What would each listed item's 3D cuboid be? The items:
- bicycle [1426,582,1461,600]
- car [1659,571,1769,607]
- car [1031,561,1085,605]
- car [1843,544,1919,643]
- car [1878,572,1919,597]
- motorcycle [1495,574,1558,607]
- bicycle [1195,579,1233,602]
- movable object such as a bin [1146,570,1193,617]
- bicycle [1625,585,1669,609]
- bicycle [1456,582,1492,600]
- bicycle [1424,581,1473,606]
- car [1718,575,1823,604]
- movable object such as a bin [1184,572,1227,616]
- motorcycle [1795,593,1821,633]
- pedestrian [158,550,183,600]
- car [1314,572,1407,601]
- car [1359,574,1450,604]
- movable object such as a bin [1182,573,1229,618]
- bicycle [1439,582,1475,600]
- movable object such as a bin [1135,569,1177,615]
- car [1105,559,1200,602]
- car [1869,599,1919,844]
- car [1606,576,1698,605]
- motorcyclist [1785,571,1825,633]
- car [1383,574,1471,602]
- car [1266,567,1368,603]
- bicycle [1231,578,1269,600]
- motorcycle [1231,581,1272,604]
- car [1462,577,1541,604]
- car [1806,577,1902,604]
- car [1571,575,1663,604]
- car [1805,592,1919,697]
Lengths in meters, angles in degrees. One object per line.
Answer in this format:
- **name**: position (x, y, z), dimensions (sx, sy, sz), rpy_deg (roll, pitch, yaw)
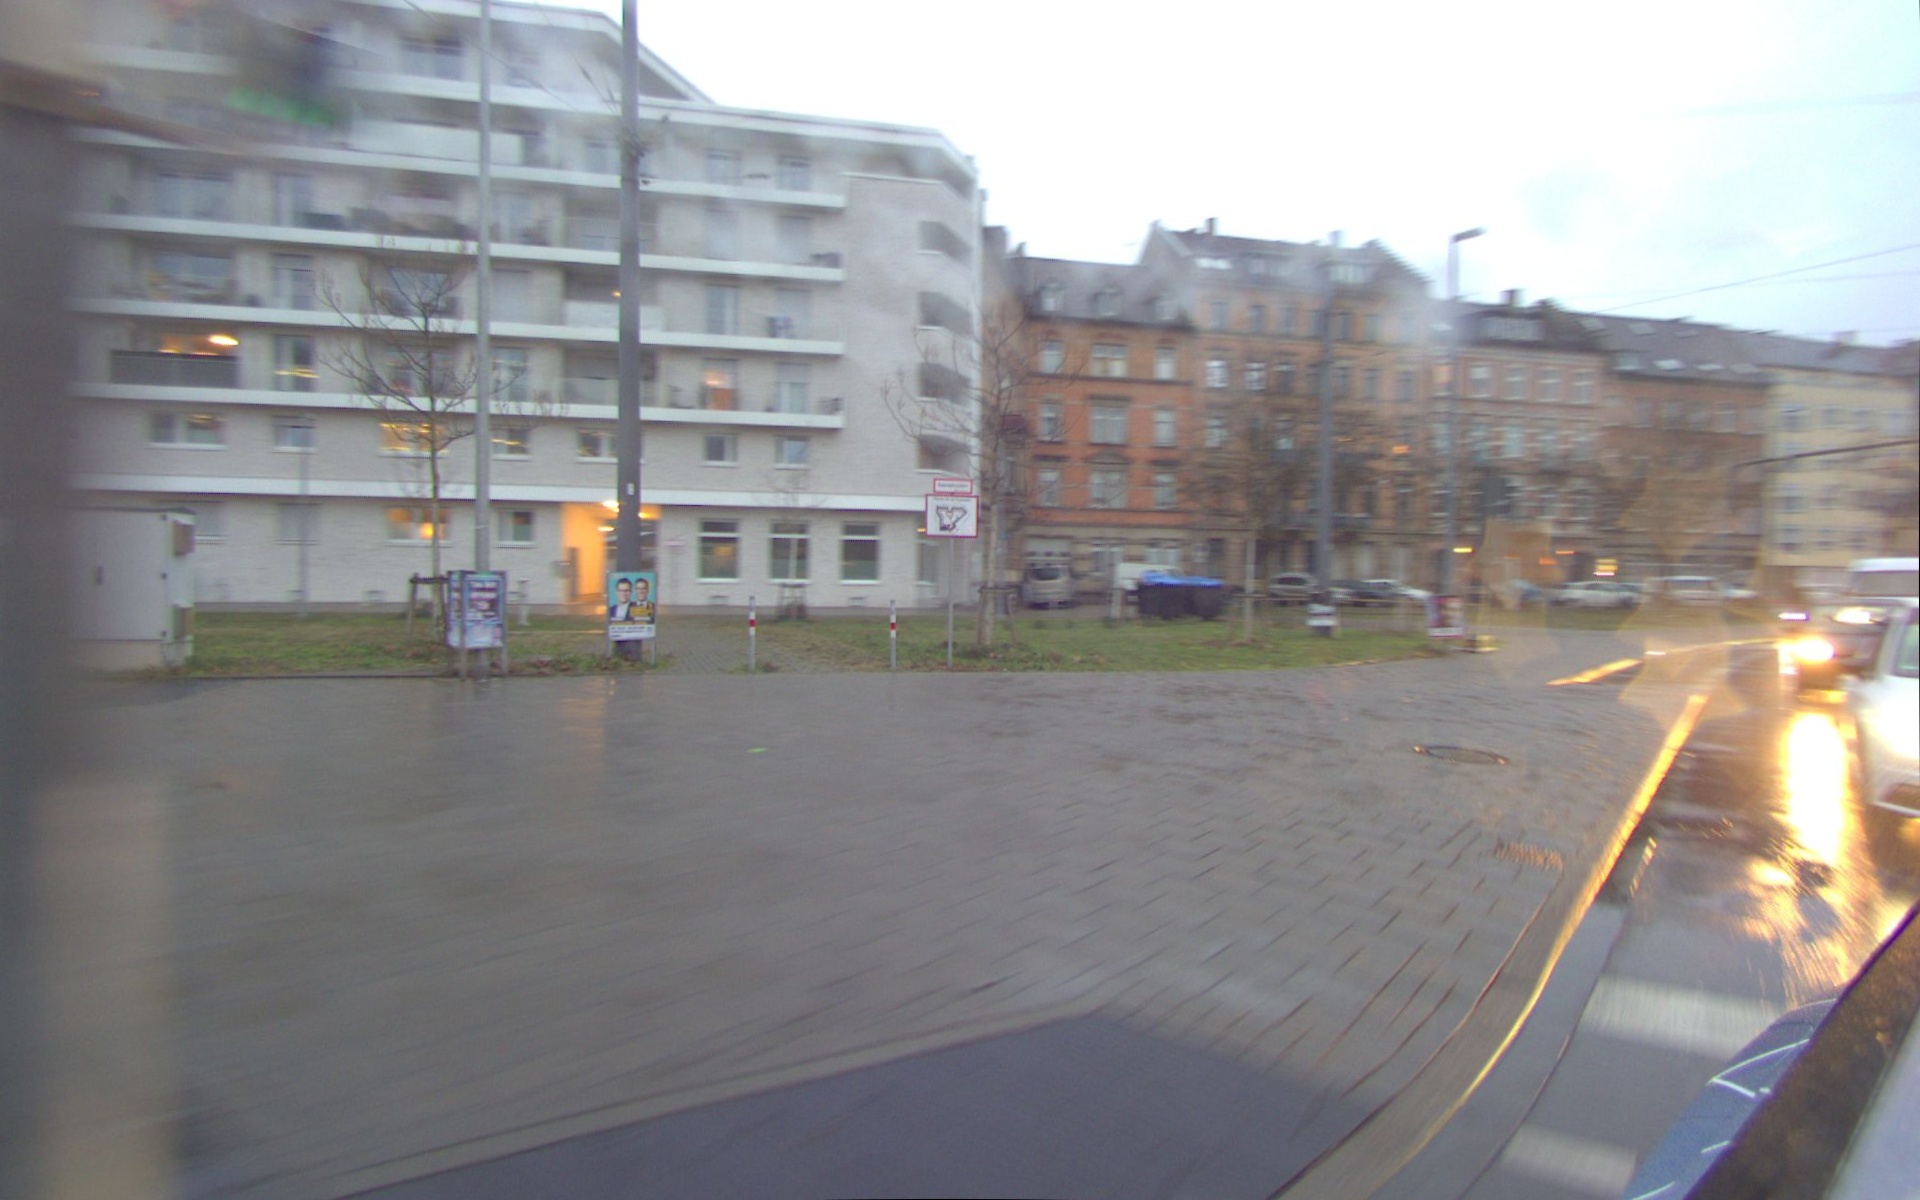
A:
- **bicycle**: position (24.355, -0.465, 51.005), dimensions (0.436, 0.804, 1.800), rpy_deg (1, 3, -19)
- **car**: position (39.062, -0.591, 52.513), dimensions (1.751, 1.790, 4.337), rpy_deg (0, 2, -42)
- **car**: position (4.693, -0.840, 48.049), dimensions (1.914, 1.966, 4.580), rpy_deg (1, 1, 14)
- **car**: position (26.142, -0.206, 27.645), dimensions (5.569, 2.493, 2.240), rpy_deg (-1, 1, -40)
- **car**: position (52.874, -0.837, 55.501), dimensions (1.591, 1.387, 3.606), rpy_deg (-1, 2, -44)
- **motorcycle**: position (25.852, -0.465, 46.220), dimensions (0.867, 1.362, 2.363), rpy_deg (-1, 5, -28)
- **bicycle**: position (11.467, -0.449, 45.720), dimensions (0.437, 0.942, 1.796), rpy_deg (0, 4, -36)
- **movable object such as a bin**: position (6.933, -0.214, 33.558), dimensions (1.227, 1.529, 1.055), rpy_deg (0, 1, -7)
- **bicycle**: position (31.104, -0.146, 45.849), dimensions (0.436, 0.942, 1.800), rpy_deg (1, 3, -14)
- **bicycle**: position (26.136, -0.463, 51.450), dimensions (0.386, 0.827, 1.800), rpy_deg (0, 3, -21)
- **bicycle**: position (22.040, -0.313, 45.671), dimensions (1.875, 1.031, 0.536), rpy_deg (2, 3, 8)
- **car**: position (42.109, -0.567, 52.643), dimensions (1.670, 1.463, 3.963), rpy_deg (0, 2, -37)
- **movable object such as a bin**: position (8.492, -0.207, 35.099), dimensions (1.117, 1.504, 1.055), rpy_deg (0, 1, -7)
- **motorcycle**: position (26.672, 0.392, 31.811), dimensions (0.482, 1.198, 2.372), rpy_deg (1, 1, 43)
- **pedestrian**: position (-26.814, -0.845, 34.370), dimensions (0.622, 1.653, 0.720), rpy_deg (0, 1, -44)
- **car**: position (18.858, -0.655, 47.753), dimensions (1.713, 1.322, 3.681), rpy_deg (-1, 2, -43)
- **car**: position (21.302, -0.548, 48.588), dimensions (1.640, 1.322, 3.681), rpy_deg (-1, 2, -43)
- **movable object such as a bin**: position (8.224, -0.162, 33.942), dimensions (1.200, 1.450, 1.055), rpy_deg (0, 1, -7)
- **bicycle**: position (25.036, -0.448, 51.012), dimensions (0.436, 0.787, 1.800), rpy_deg (1, 3, -19)
- **movable object such as a bin**: position (6.802, -0.287, 35.149), dimensions (1.117, 1.595, 1.055), rpy_deg (0, 1, -7)
- **car**: position (10.360, -1.050, 54.525), dimensions (4.563, 2.216, 2.004), rpy_deg (0, 1, -14)
- **car**: position (7.564, 0.713, 6.966), dimensions (1.783, 1.396, 4.155), rpy_deg (-1, 0, 44)
- **car**: position (35.817, -0.511, 52.417), dimensions (1.495, 1.454, 3.682), rpy_deg (0, 2, -41)
- **motorcyclist**: position (26.583, 0.054, 31.846), dimensions (0.883, 1.905, 0.907), rpy_deg (1, 1, 44)
- **car**: position (23.124, -0.616, 50.194), dimensions (1.495, 1.322, 3.681), rpy_deg (0, 2, -43)
- **car**: position (16.561, -0.703, 47.078), dimensions (1.713, 1.589, 4.148), rpy_deg (0, 2, -43)
- **bicycle**: position (13.698, -0.510, 47.817), dimensions (0.437, 0.942, 1.796), rpy_deg (0, 4, -36)
- **motorcycle**: position (13.168, -0.346, 45.759), dimensions (0.504, 0.942, 1.793), rpy_deg (-1, 4, -42)
- **car**: position (27.979, -0.530, 52.345), dimensions (1.495, 1.322, 3.296), rpy_deg (0, 2, -41)
- **car**: position (47.677, -0.530, 54.015), dimensions (1.588, 1.387, 3.612), rpy_deg (0, 2, -38)
- **car**: position (33.329, -0.556, 51.408), dimensions (1.495, 1.417, 3.682), rpy_deg (0, 2, -41)
- **car**: position (14.073, 0.594, 15.496), dimensions (1.716, 1.405, 3.767), rpy_deg (1, 1, 40)
